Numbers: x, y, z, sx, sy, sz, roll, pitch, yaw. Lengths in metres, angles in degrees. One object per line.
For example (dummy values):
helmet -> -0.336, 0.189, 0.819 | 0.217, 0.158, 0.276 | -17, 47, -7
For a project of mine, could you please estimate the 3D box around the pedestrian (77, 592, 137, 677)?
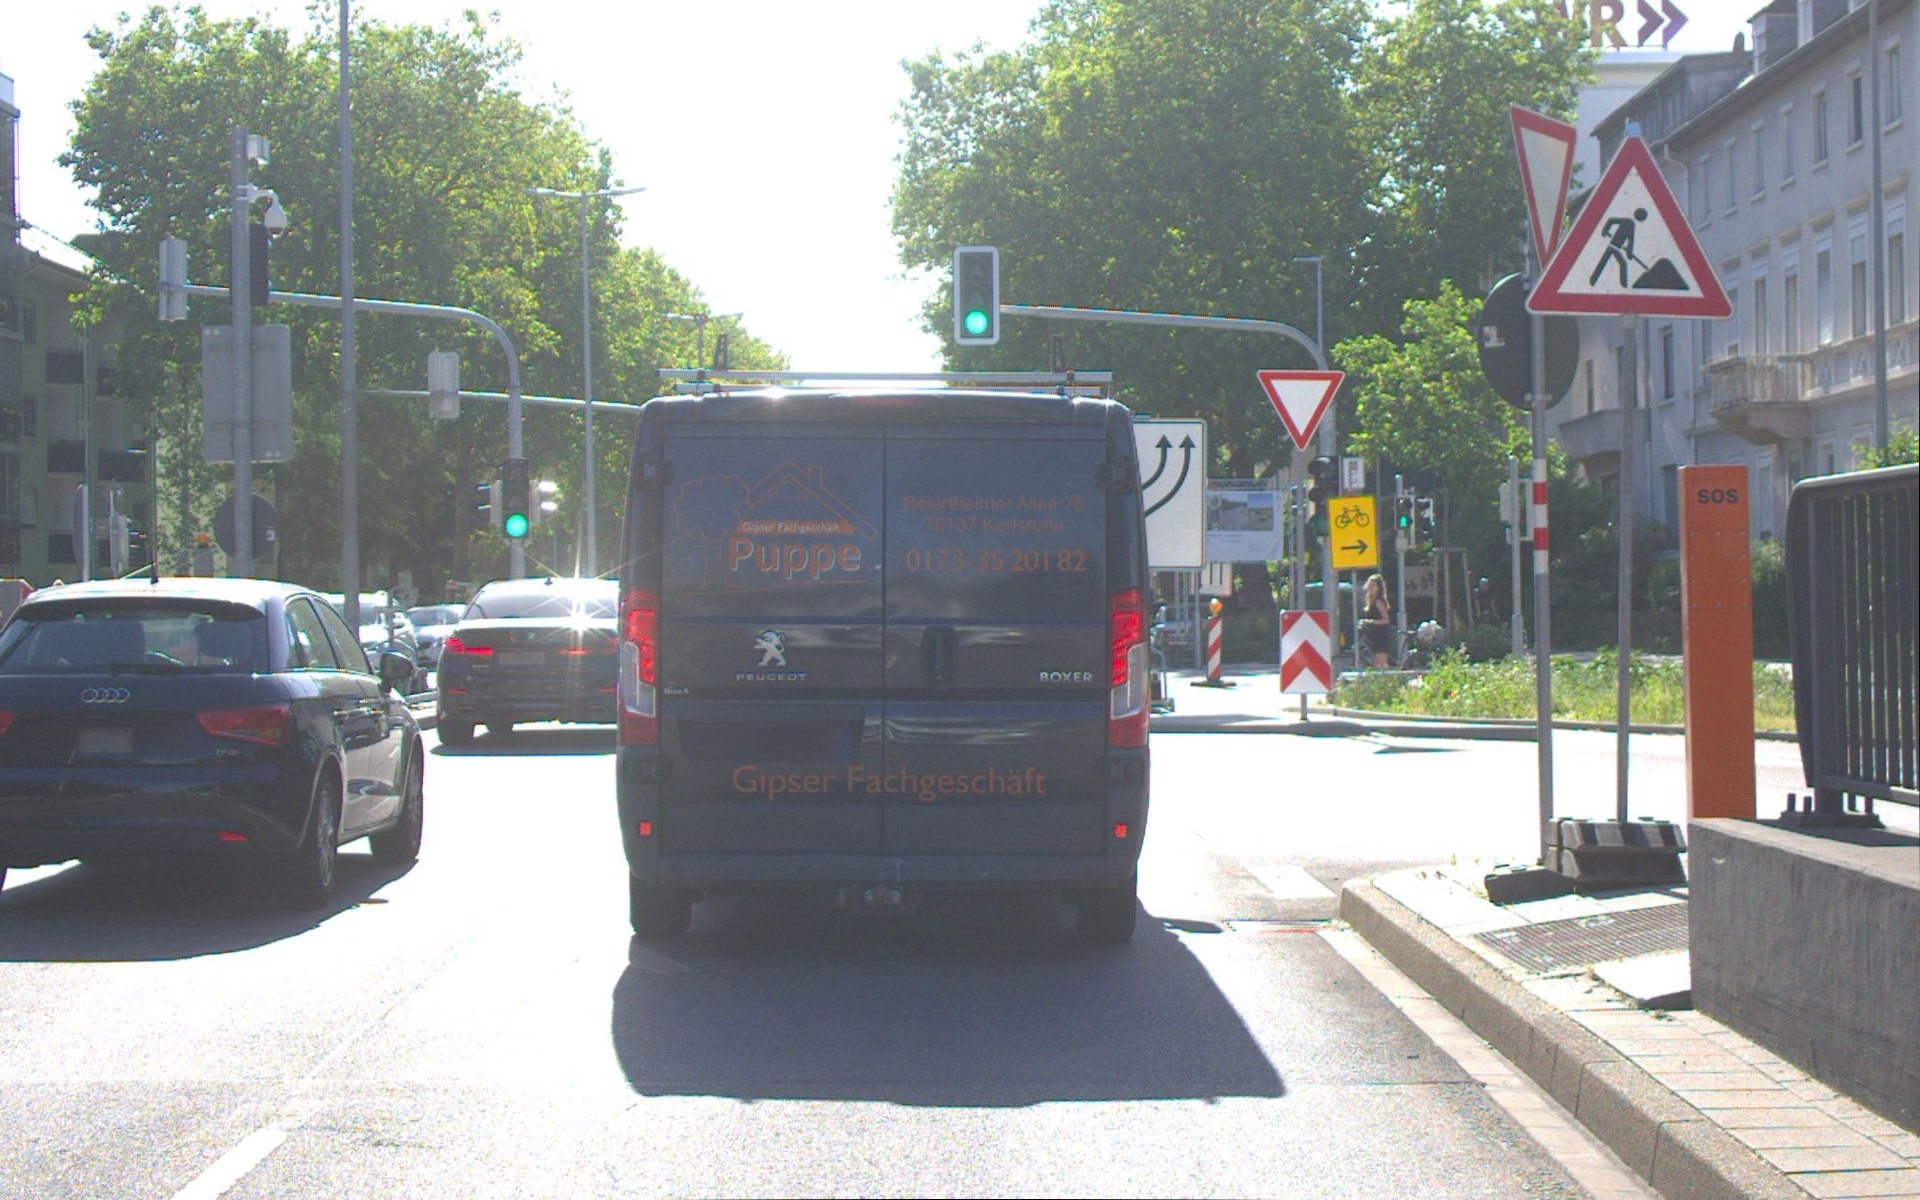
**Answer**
pedestrian -> -17.434, 0.697, 70.295 | 0.865, 1.705, 1.012 | -1, 0, 7

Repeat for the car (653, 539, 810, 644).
car -> -3.282, -0.139, 50.237 | 1.911, 1.439, 4.602 | 1, 1, 1

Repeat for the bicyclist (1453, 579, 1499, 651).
bicyclist -> 10.801, 0.317, 71.942 | 0.723, 1.494, 0.871 | -1, 0, -8

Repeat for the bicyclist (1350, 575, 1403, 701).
bicyclist -> 5.685, 0.514, 46.916 | 0.603, 1.703, 0.858 | -1, 0, 0

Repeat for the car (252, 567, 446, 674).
car -> -9.100, 0.277, 51.561 | 1.993, 1.448, 4.618 | 0, 1, 1

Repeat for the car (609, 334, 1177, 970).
car -> -0.267, 0.180, 14.692 | 2.095, 2.347, 3.933 | 0, 0, -1

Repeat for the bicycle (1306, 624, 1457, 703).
bicycle -> 5.742, 0.864, 46.861 | 1.962, 1.022, 0.605 | 1, 0, 0

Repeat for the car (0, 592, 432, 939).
car -> -3.605, 0.701, 16.057 | 1.746, 1.402, 4.000 | 1, -1, -1

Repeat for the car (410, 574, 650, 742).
car -> -3.809, 0.481, 31.004 | 1.746, 1.402, 4.000 | 1, 0, -1

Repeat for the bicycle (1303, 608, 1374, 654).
bicycle -> 8.285, 0.669, 75.107 | 0.588, 1.002, 2.127 | 0, 0, 35

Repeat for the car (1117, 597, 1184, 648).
car -> 5.699, 0.670, 103.083 | 1.763, 1.503, 4.251 | 0, 0, 0

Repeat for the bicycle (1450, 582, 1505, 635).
bicycle -> 10.818, 0.171, 71.936 | 0.688, 1.094, 1.687 | -1, 0, -8
